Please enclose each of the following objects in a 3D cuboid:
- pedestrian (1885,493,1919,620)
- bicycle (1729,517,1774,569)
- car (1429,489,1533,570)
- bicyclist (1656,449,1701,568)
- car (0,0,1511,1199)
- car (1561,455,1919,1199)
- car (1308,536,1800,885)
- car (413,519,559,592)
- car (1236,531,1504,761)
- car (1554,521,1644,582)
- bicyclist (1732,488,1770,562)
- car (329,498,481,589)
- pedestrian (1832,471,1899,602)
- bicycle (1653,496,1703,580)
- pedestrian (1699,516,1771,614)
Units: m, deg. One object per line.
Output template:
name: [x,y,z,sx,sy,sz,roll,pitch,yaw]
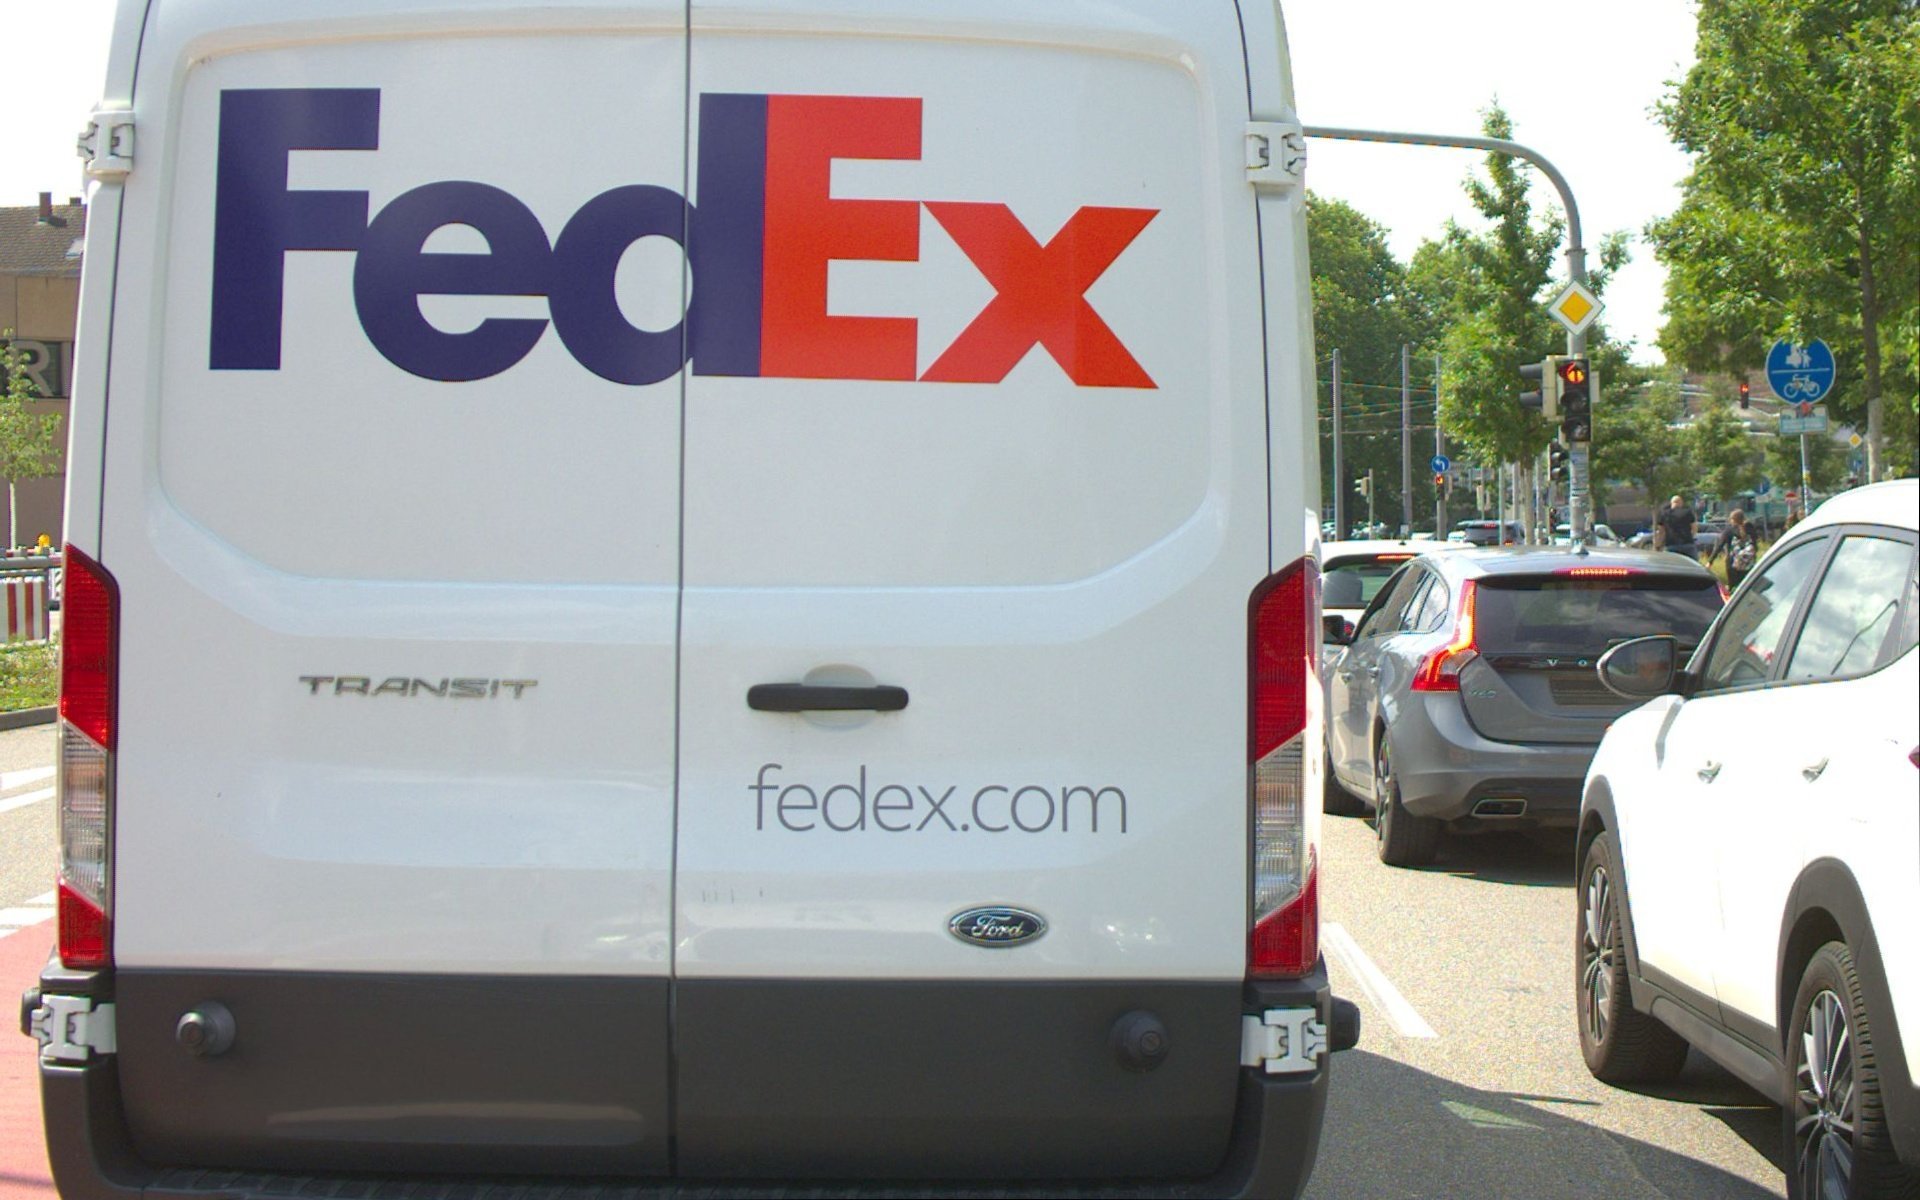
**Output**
pedestrian: [15.236,-0.693,54.646,0.845,2.007,0.741,0,1,-1]
bicycle: [15.820,-1.151,68.746,0.546,1.027,1.927,0,1,3]
car: [13.512,-1.812,88.973,2.094,2.007,4.640,0,1,16]
bicyclist: [11.246,-1.438,53.799,0.592,1.838,1.122,0,2,17]
car: [-0.455,-0.009,7.476,2.140,2.643,5.705,0,1,-3]
car: [2.592,0.533,7.938,1.798,1.681,4.000,0,1,1]
car: [2.730,0.439,16.605,1.798,1.456,3.838,0,1,1]
car: [-10.606,-0.997,77.184,1.902,1.579,3.998,0,1,14]
car: [2.718,0.257,23.333,1.484,1.423,3.433,0,1,1]
car: [19.232,-1.463,103.354,1.995,1.787,4.367,0,1,20]
bicyclist: [15.810,-1.494,68.724,0.549,1.469,0.971,0,1,1]
car: [-12.641,-1.279,78.565,1.995,2.007,3.998,0,1,14]
pedestrian: [14.277,-1.003,54.228,0.845,2.051,0.741,0,1,-1]
bicycle: [11.253,-0.981,53.840,0.603,1.285,2.069,0,1,17]
pedestrian: [11.057,-0.507,49.060,0.845,1.384,0.741,0,1,-1]
